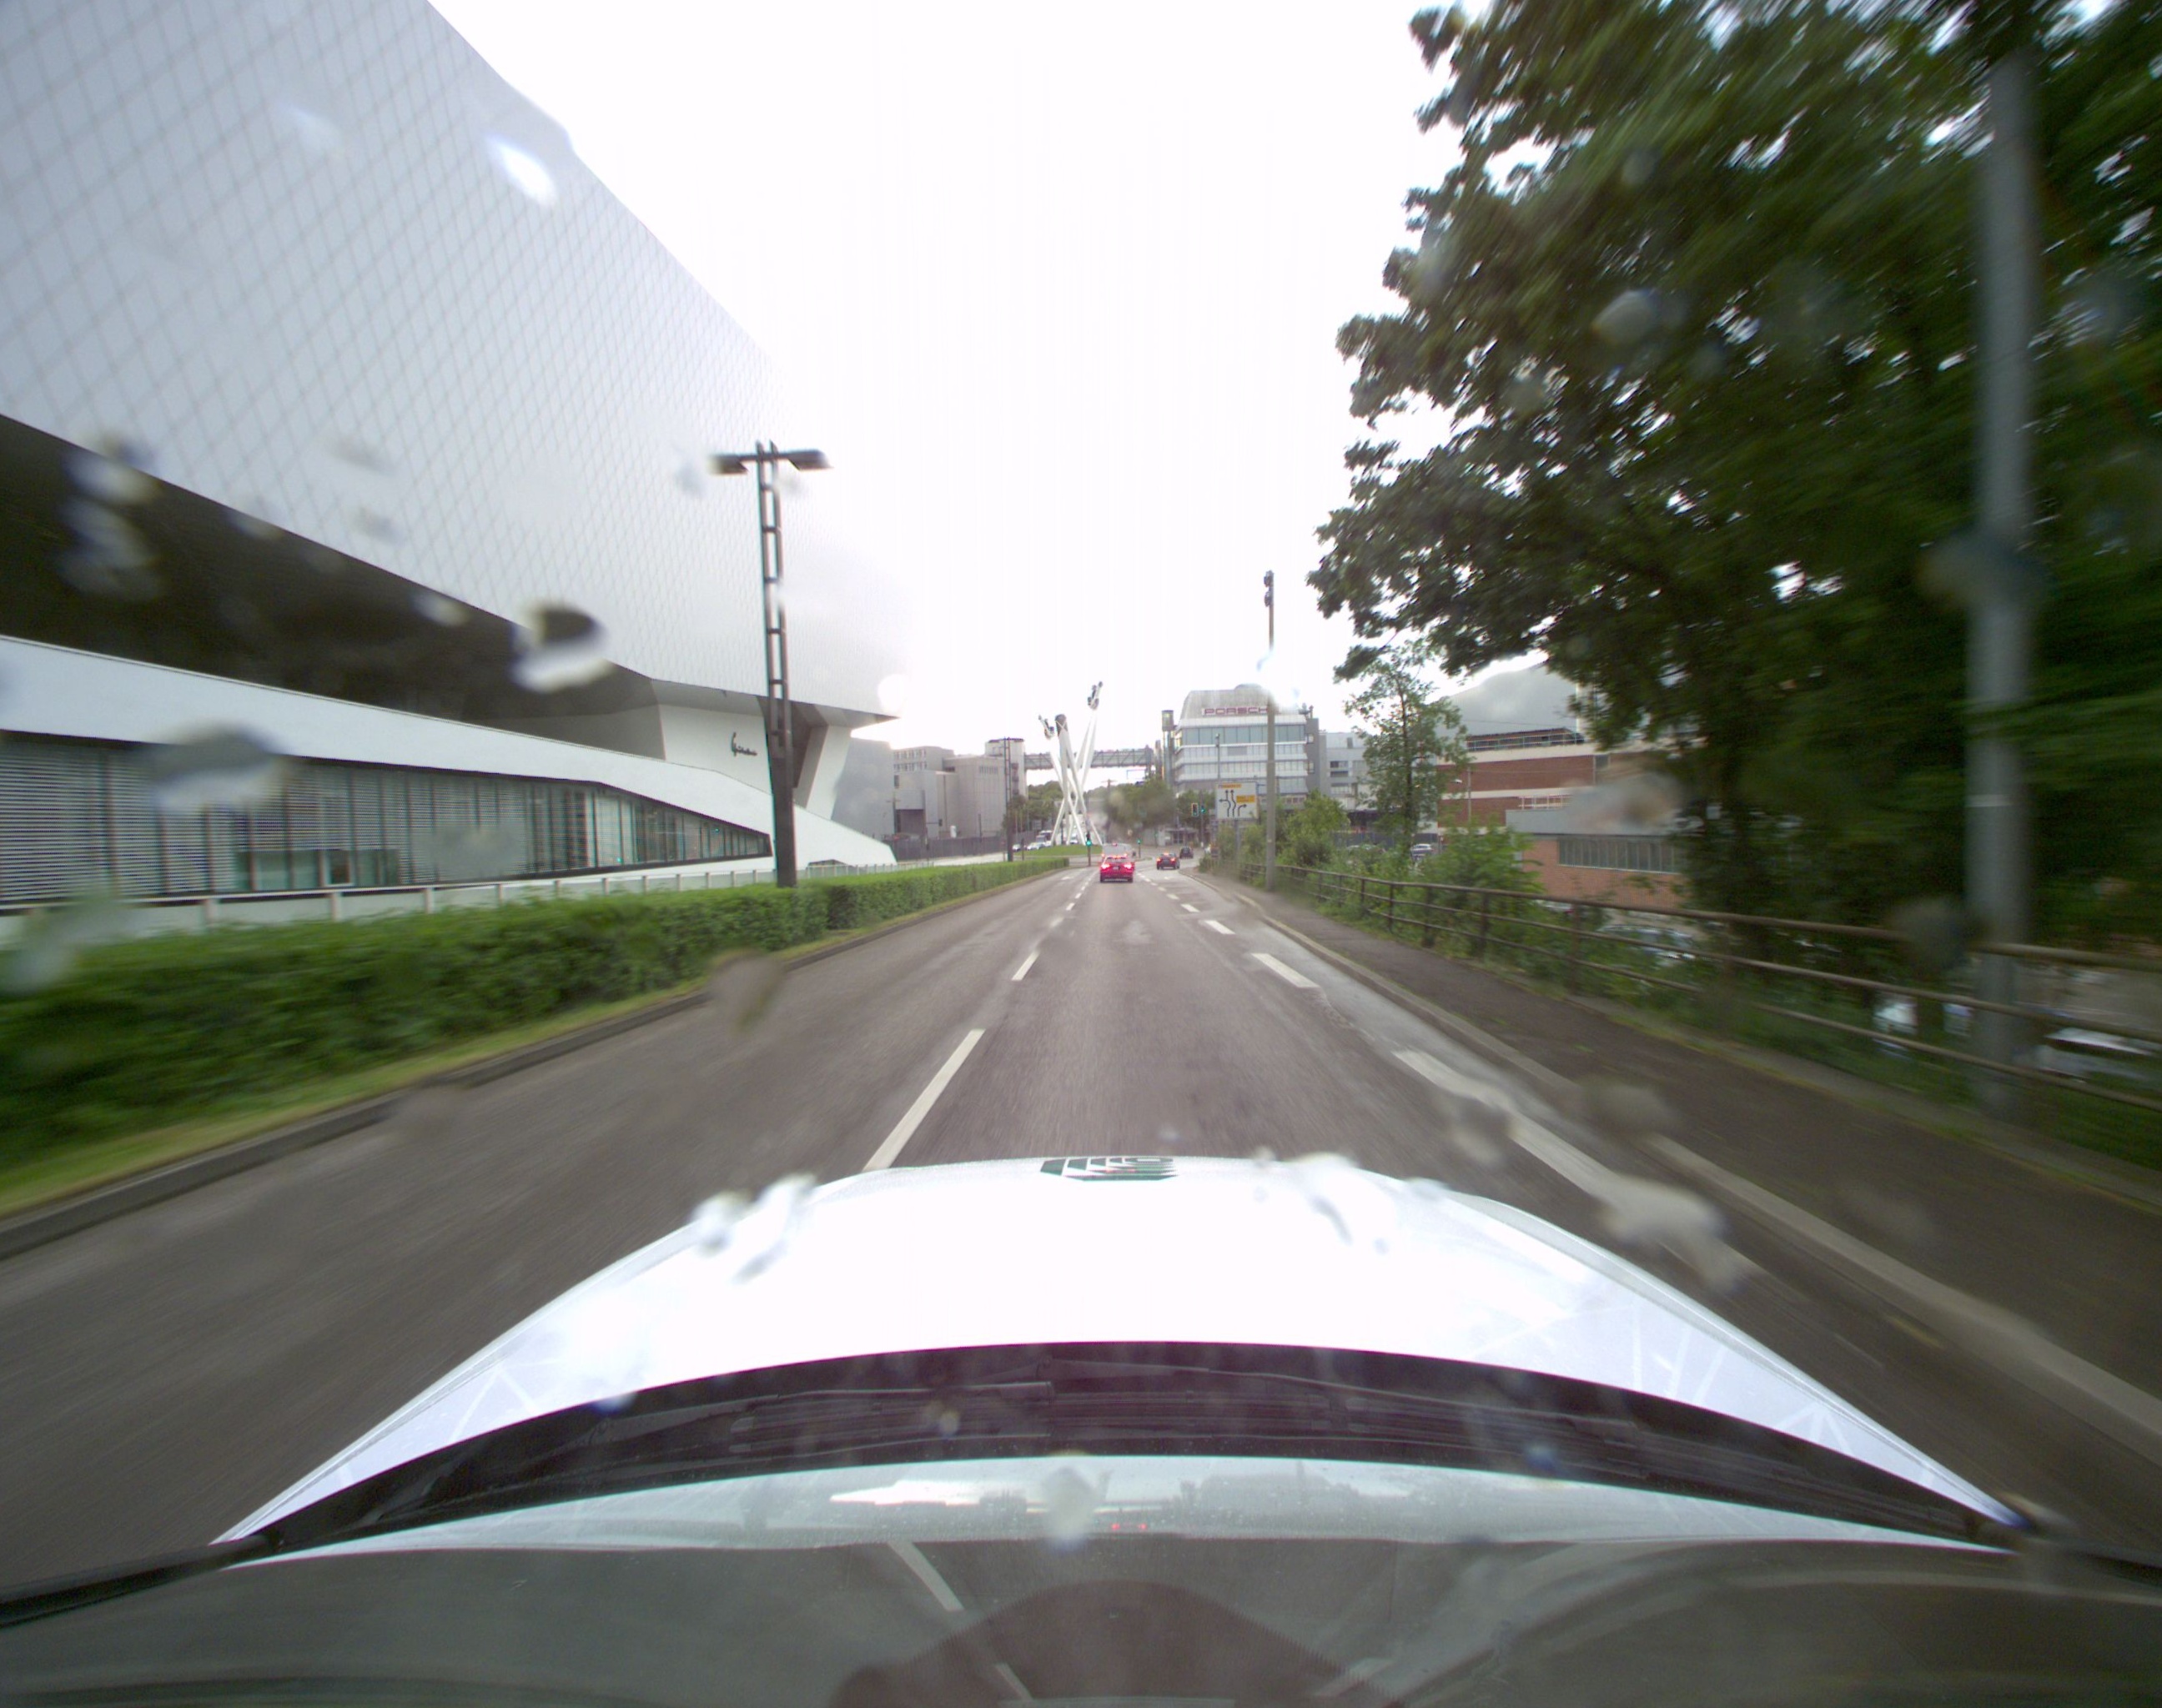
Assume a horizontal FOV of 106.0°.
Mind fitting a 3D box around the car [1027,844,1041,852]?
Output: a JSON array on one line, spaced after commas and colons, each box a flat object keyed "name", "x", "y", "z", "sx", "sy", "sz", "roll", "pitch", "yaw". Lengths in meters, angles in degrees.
[{"name": "car", "x": -8.507, "y": -1.078, "z": 147.316, "sx": 1.836, "sy": 1.338, "sz": 4.007, "roll": -2, "pitch": 1, "yaw": 5}]

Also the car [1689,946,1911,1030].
[{"name": "car", "x": 15.833, "y": 2.936, "z": 18.043, "sx": 3.543, "sy": 1.306, "sz": 1.549, "roll": 5, "pitch": 0, "yaw": -2}]

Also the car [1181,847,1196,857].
[{"name": "car", "x": 13.917, "y": -0.243, "z": 105.274, "sx": 1.551, "sy": 1.288, "sz": 3.415, "roll": -2, "pitch": 0, "yaw": 2}]

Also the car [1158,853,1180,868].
[{"name": "car", "x": 7.709, "y": 0.562, "z": 71.362, "sx": 1.600, "sy": 1.291, "sz": 3.578, "roll": -2, "pitch": 0, "yaw": 11}]

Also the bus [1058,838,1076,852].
[{"name": "bus", "x": -3.226, "y": -2.201, "z": 195.226, "sx": 2.655, "sy": 3.200, "sz": 12.692, "roll": -1, "pitch": 1, "yaw": 6}]

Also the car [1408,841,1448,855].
[{"name": "car", "x": 40.491, "y": -0.733, "z": 95.035, "sx": 3.932, "sy": 1.601, "sz": 1.923, "roll": 1, "pitch": 2, "yaw": 44}]

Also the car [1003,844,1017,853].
[{"name": "car", "x": -12.779, "y": -0.991, "z": 147.559, "sx": 1.825, "sy": 1.472, "sz": 4.519, "roll": -2, "pitch": 1, "yaw": 4}]

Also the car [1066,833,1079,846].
[{"name": "car", "x": -1.661, "y": -2.862, "z": 159.547, "sx": 1.985, "sy": 2.447, "sz": 5.433, "roll": -2, "pitch": 1, "yaw": 4}]

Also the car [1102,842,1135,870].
[{"name": "car", "x": 3.147, "y": 0.169, "z": 66.845, "sx": 2.220, "sy": 2.107, "sz": 4.965, "roll": -2, "pitch": 0, "yaw": 7}]

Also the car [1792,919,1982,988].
[{"name": "car", "x": 24.056, "y": 2.913, "z": 24.515, "sx": 1.697, "sy": 1.486, "sz": 3.846, "roll": -1, "pitch": 1, "yaw": -8}]

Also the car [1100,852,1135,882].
[{"name": "car", "x": 1.944, "y": 0.664, "z": 43.756, "sx": 1.766, "sy": 1.464, "sz": 3.734, "roll": -2, "pitch": 0, "yaw": 2}]

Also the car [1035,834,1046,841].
[{"name": "car", "x": -8.315, "y": -3.444, "z": 167.784, "sx": 1.825, "sy": 1.472, "sz": 4.519, "roll": -2, "pitch": 1, "yaw": 4}]

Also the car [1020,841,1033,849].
[{"name": "car", "x": -10.294, "y": -1.663, "z": 154.267, "sx": 1.825, "sy": 1.472, "sz": 4.519, "roll": -2, "pitch": 1, "yaw": 4}]

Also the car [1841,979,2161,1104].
[{"name": "car", "x": 14.348, "y": 2.874, "z": 12.703, "sx": 3.543, "sy": 1.306, "sz": 1.549, "roll": 5, "pitch": 0, "yaw": -2}]

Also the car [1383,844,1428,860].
[{"name": "car", "x": 31.666, "y": -0.188, "z": 79.593, "sx": 1.836, "sy": 1.530, "sz": 4.137, "roll": 0, "pitch": 1, "yaw": -21}]
